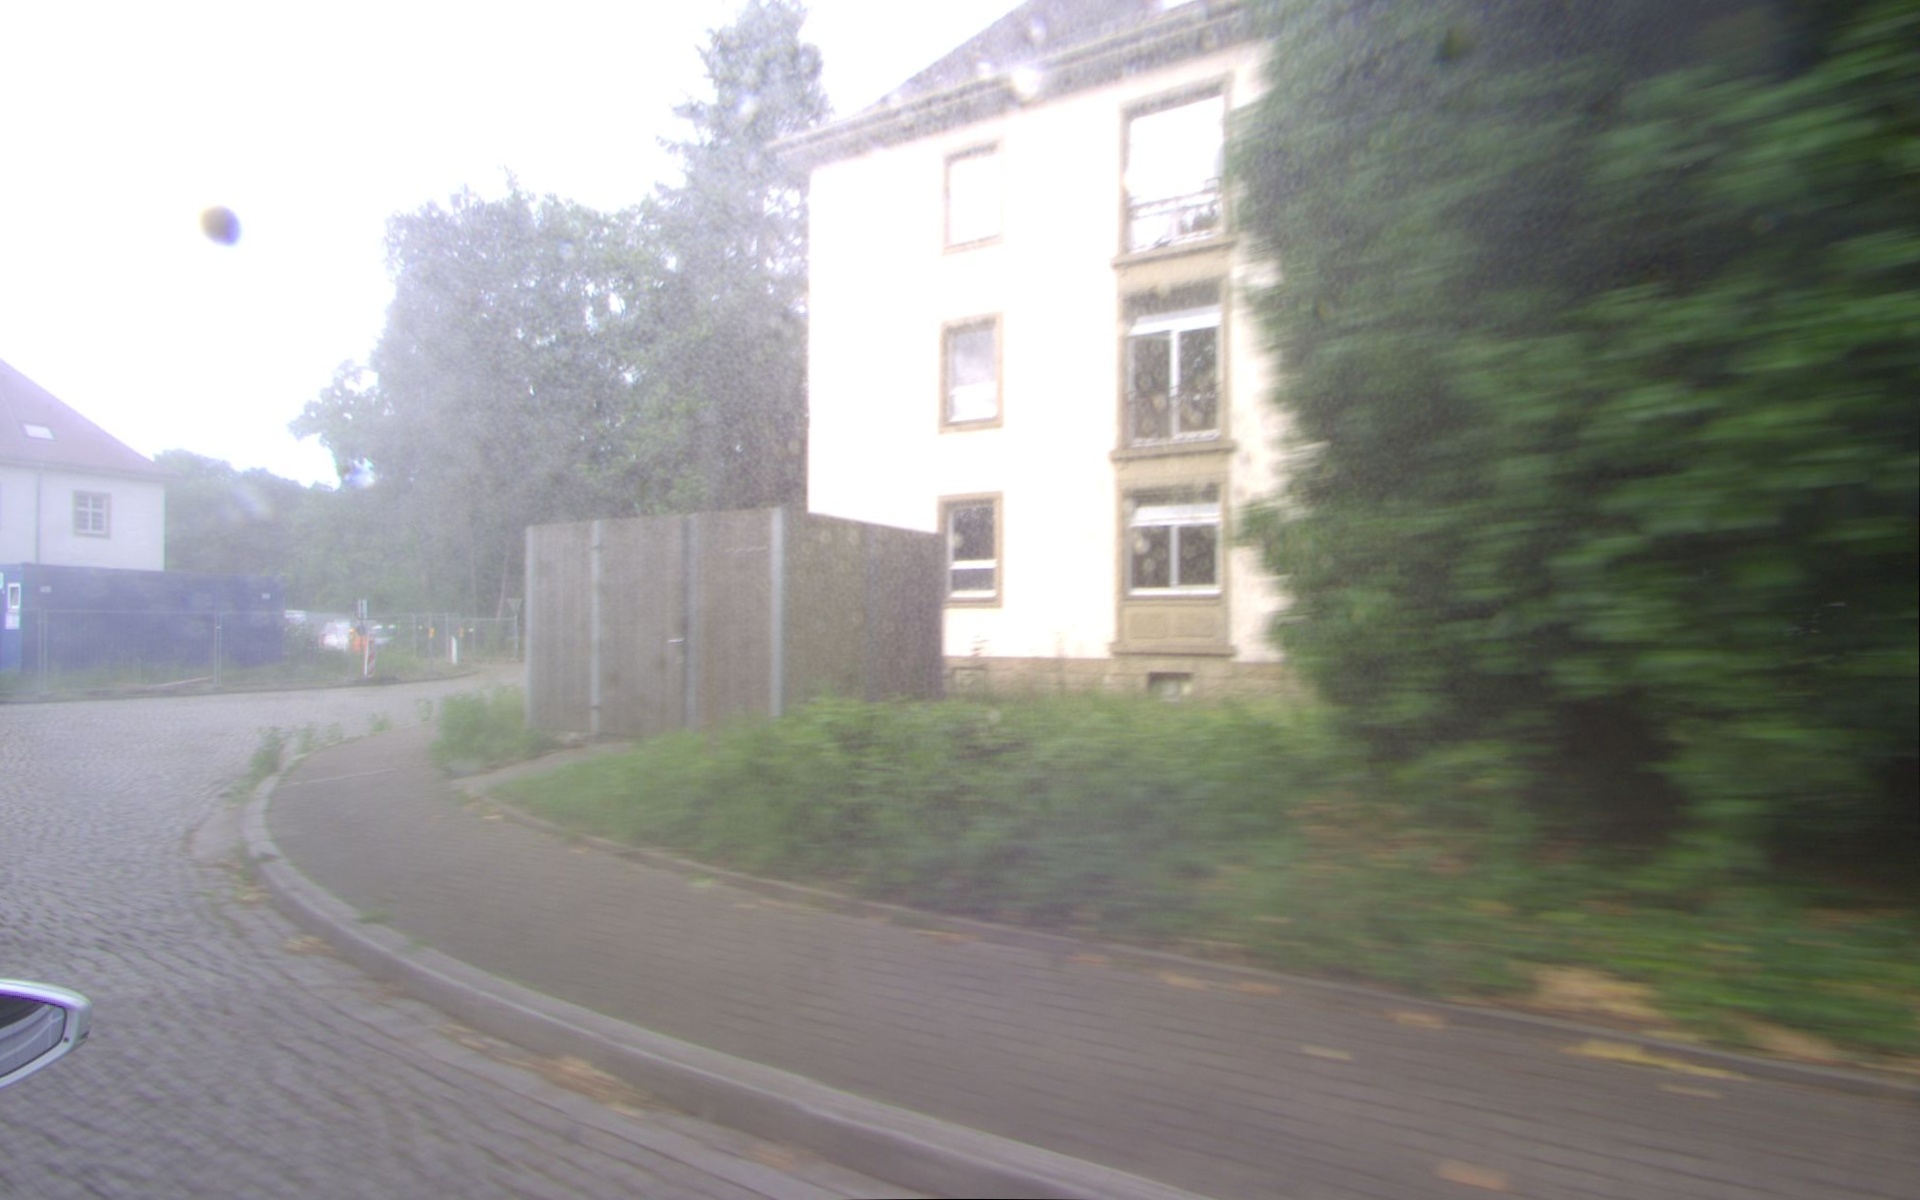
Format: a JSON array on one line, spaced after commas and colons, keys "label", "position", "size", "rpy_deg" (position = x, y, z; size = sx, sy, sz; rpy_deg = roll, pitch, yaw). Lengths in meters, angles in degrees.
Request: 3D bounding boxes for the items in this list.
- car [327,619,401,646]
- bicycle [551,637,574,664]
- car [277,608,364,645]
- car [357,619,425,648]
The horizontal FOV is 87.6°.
[{"label": "car", "position": [-34.825, 1.875, 58.640], "size": [1.730, 1.521, 4.447], "rpy_deg": [0, -2, -1]}, {"label": "bicycle", "position": [-17.896, 2.281, 45.069], "size": [0.508, 1.182, 1.792], "rpy_deg": [1, -2, -36]}, {"label": "car", "position": [-37.748, 1.558, 59.273], "size": [1.730, 2.069, 5.423], "rpy_deg": [0, -2, -1]}, {"label": "car", "position": [-32.025, 1.883, 56.505], "size": [1.589, 1.506, 3.989], "rpy_deg": [1, -1, -1]}]
